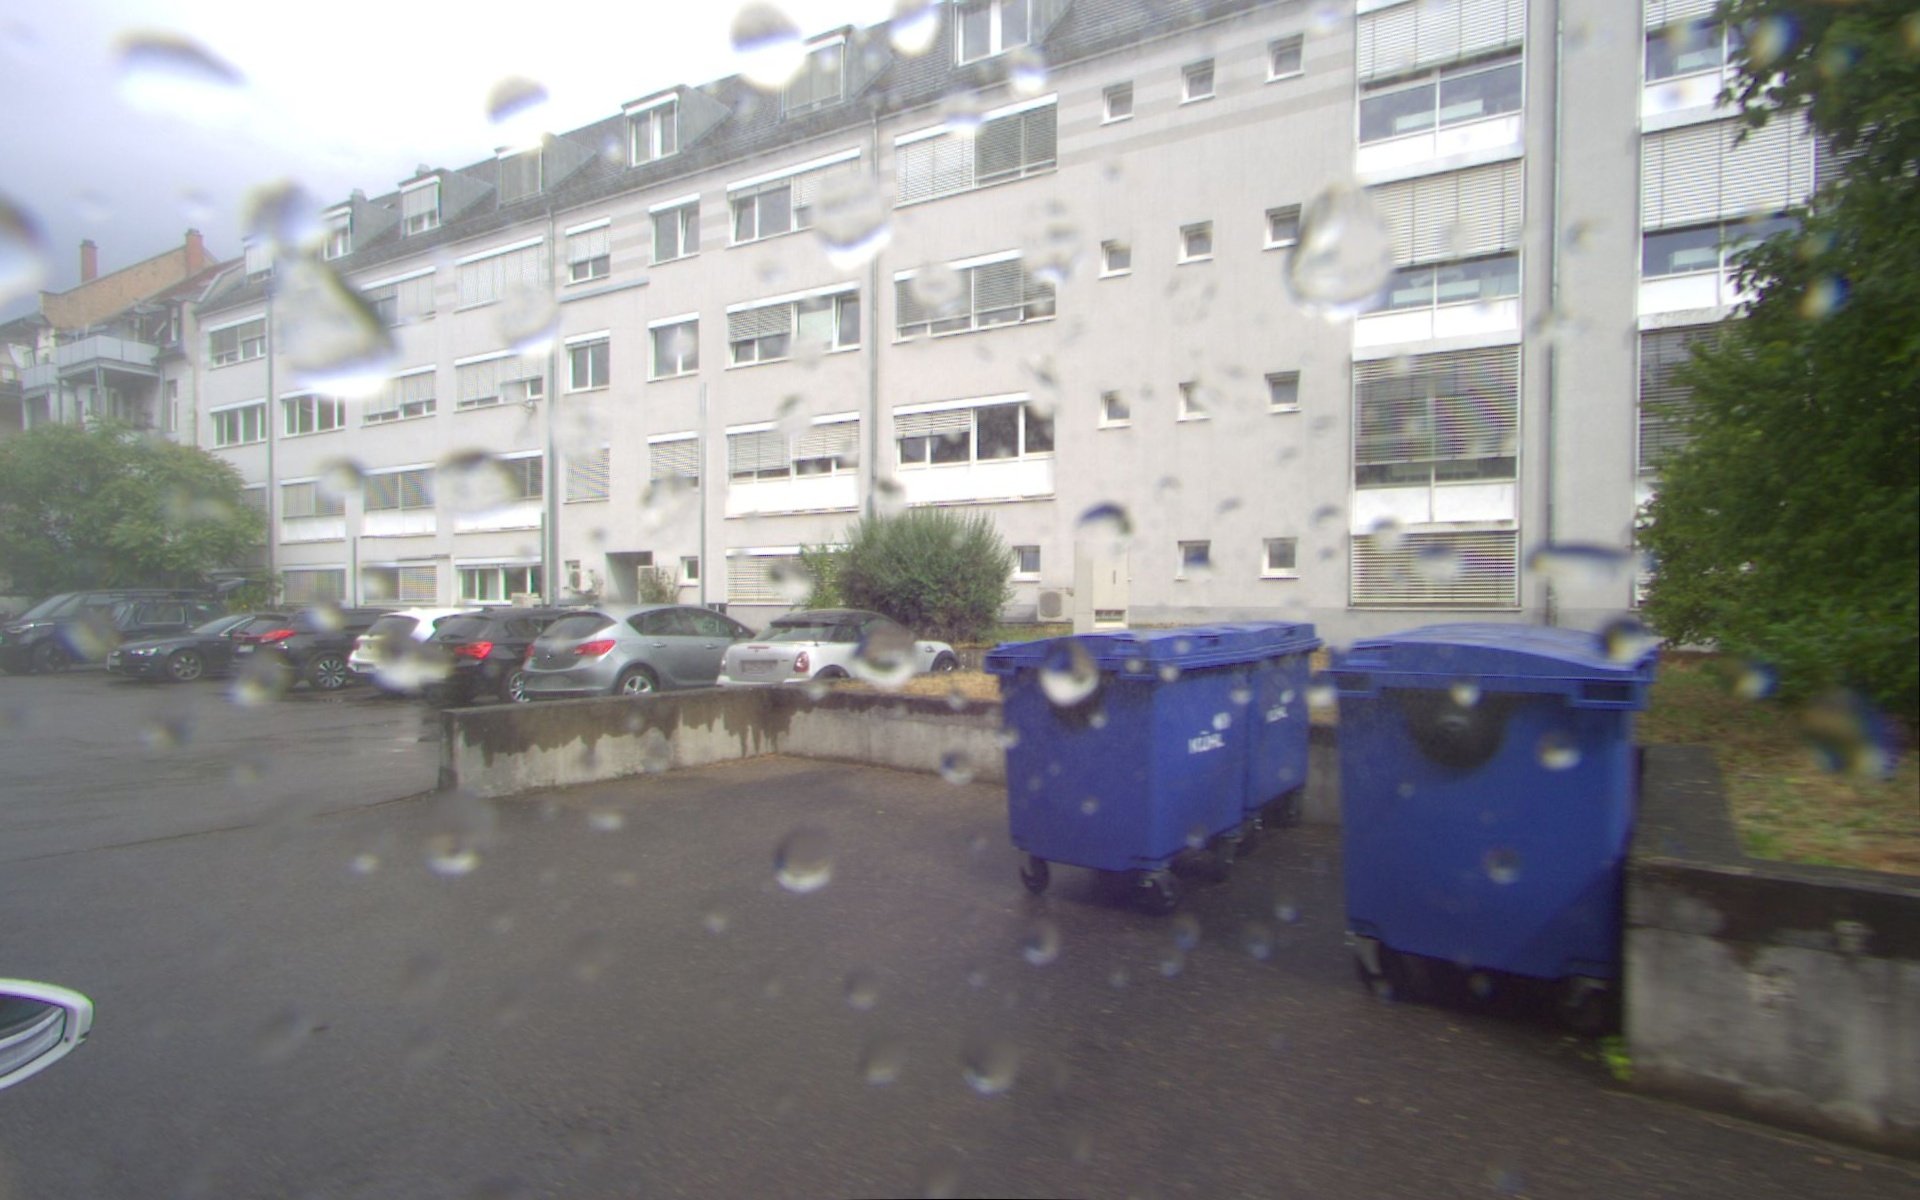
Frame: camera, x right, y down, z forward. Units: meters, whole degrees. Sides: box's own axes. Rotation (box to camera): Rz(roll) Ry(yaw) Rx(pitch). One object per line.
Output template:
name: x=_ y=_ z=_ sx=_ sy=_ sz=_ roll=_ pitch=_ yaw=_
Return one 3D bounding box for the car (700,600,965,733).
car: x=-1.555 y=0.762 z=13.256 sx=1.664 sy=1.446 sz=3.406 roll=0 pitch=1 yaw=33

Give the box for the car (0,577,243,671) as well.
car: x=-20.471 y=0.485 z=24.212 sx=2.188 sy=2.030 sz=4.634 roll=1 pitch=1 yaw=25

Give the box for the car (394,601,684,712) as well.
car: x=-6.496 y=0.773 z=15.880 sx=1.747 sy=1.422 sz=3.979 roll=1 pitch=2 yaw=30

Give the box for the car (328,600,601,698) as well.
car: x=-8.479 y=0.755 z=17.500 sx=1.746 sy=1.478 sz=3.981 roll=0 pitch=0 yaw=30

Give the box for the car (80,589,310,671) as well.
car: x=-17.728 y=0.628 z=23.375 sx=1.792 sy=1.710 sz=3.898 roll=0 pitch=1 yaw=34

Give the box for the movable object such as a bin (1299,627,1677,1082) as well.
movable object such as a bin: x=2.061 y=0.783 z=3.840 sx=1.081 sy=1.309 sz=1.332 roll=0 pitch=1 yaw=37

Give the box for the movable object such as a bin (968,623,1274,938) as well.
movable object such as a bin: x=0.873 y=0.806 z=5.222 sx=1.069 sy=1.322 sz=1.367 roll=0 pitch=1 yaw=37

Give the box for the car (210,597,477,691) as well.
car: x=-11.453 y=0.737 z=18.890 sx=1.791 sy=1.534 sz=3.904 roll=0 pitch=1 yaw=28

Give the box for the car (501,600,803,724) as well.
car: x=-4.270 y=0.757 z=14.465 sx=1.781 sy=1.465 sz=3.978 roll=0 pitch=1 yaw=32

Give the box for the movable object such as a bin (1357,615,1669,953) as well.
movable object such as a bin: x=2.767 y=0.769 z=4.971 sx=1.182 sy=1.354 sz=1.288 roll=0 pitch=1 yaw=38

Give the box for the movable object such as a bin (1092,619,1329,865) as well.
movable object such as a bin: x=1.592 y=0.796 z=6.302 sx=1.092 sy=1.322 sz=1.181 roll=0 pitch=1 yaw=36

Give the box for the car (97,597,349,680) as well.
car: x=-15.361 y=0.728 z=21.085 sx=1.726 sy=1.534 sz=3.902 roll=0 pitch=1 yaw=30
